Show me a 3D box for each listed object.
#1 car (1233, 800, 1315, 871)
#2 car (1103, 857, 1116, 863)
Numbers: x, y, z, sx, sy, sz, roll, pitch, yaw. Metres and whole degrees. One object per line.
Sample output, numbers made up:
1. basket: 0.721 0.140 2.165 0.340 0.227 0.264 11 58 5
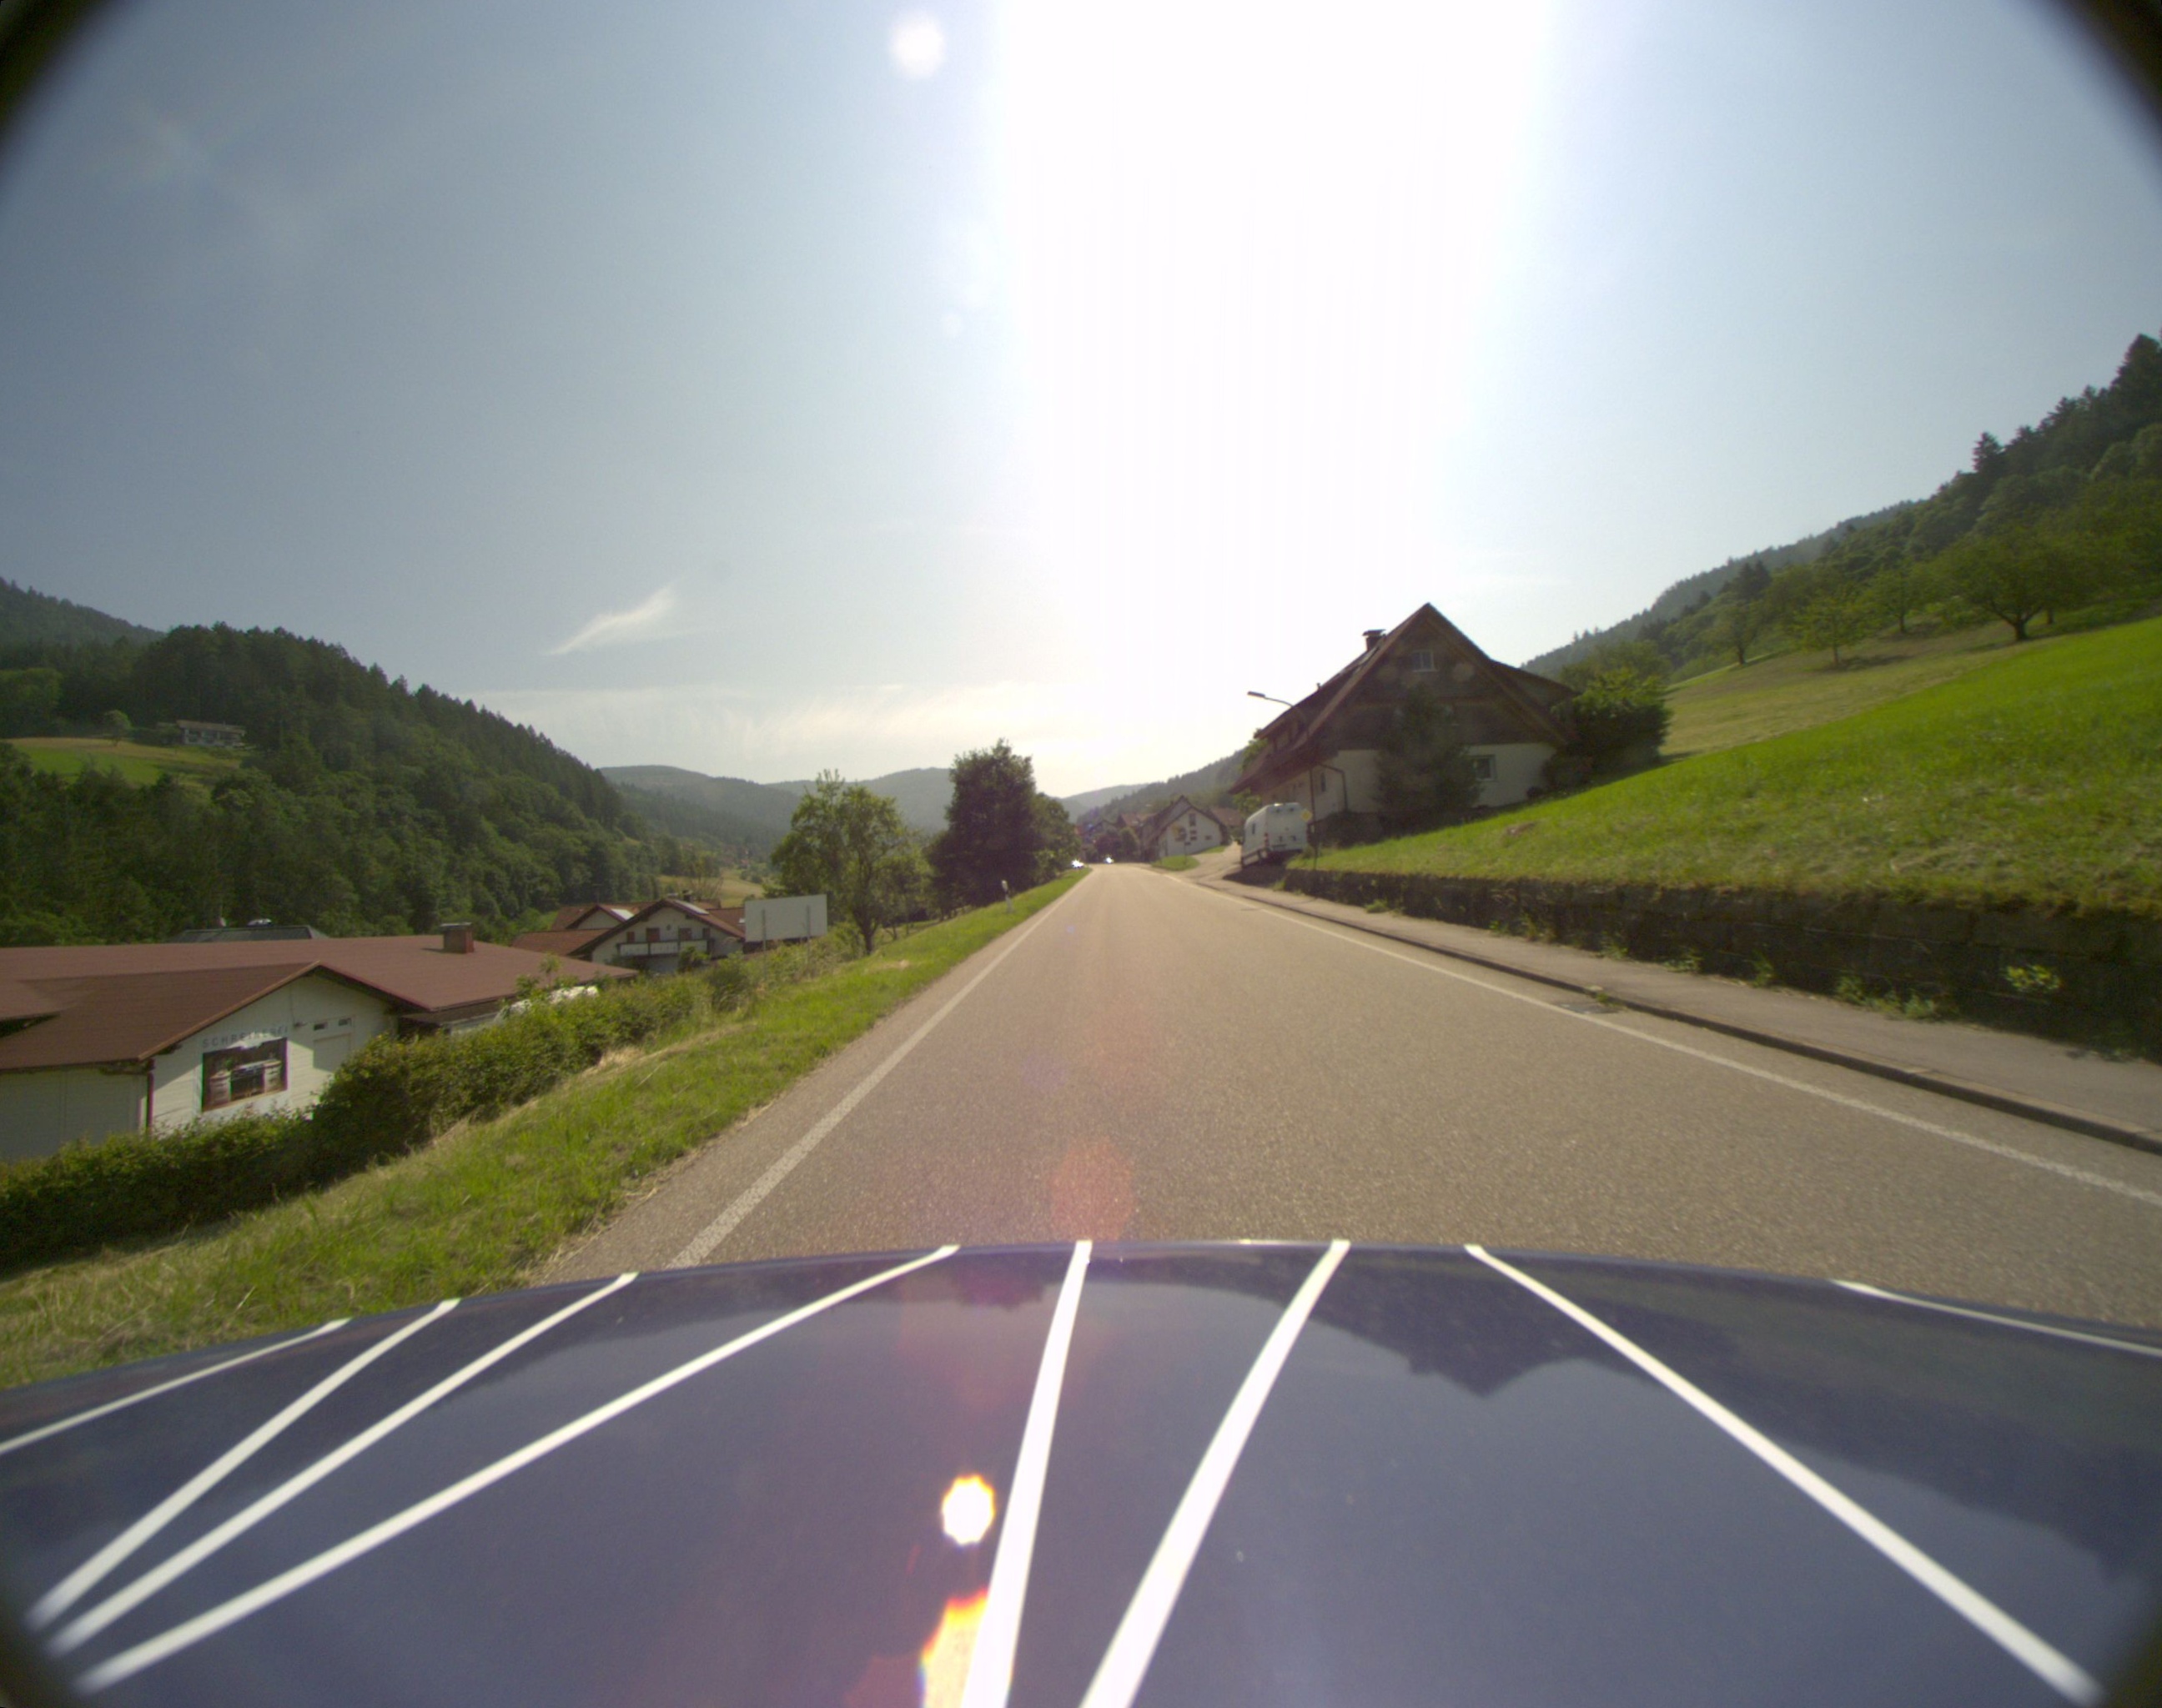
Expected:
1. car: 9.069 -0.703 36.522 2.072 2.671 7.178 -5 -3 1
2. car: 7.066 1.373 187.423 1.789 1.331 4.690 -3 0 -16
